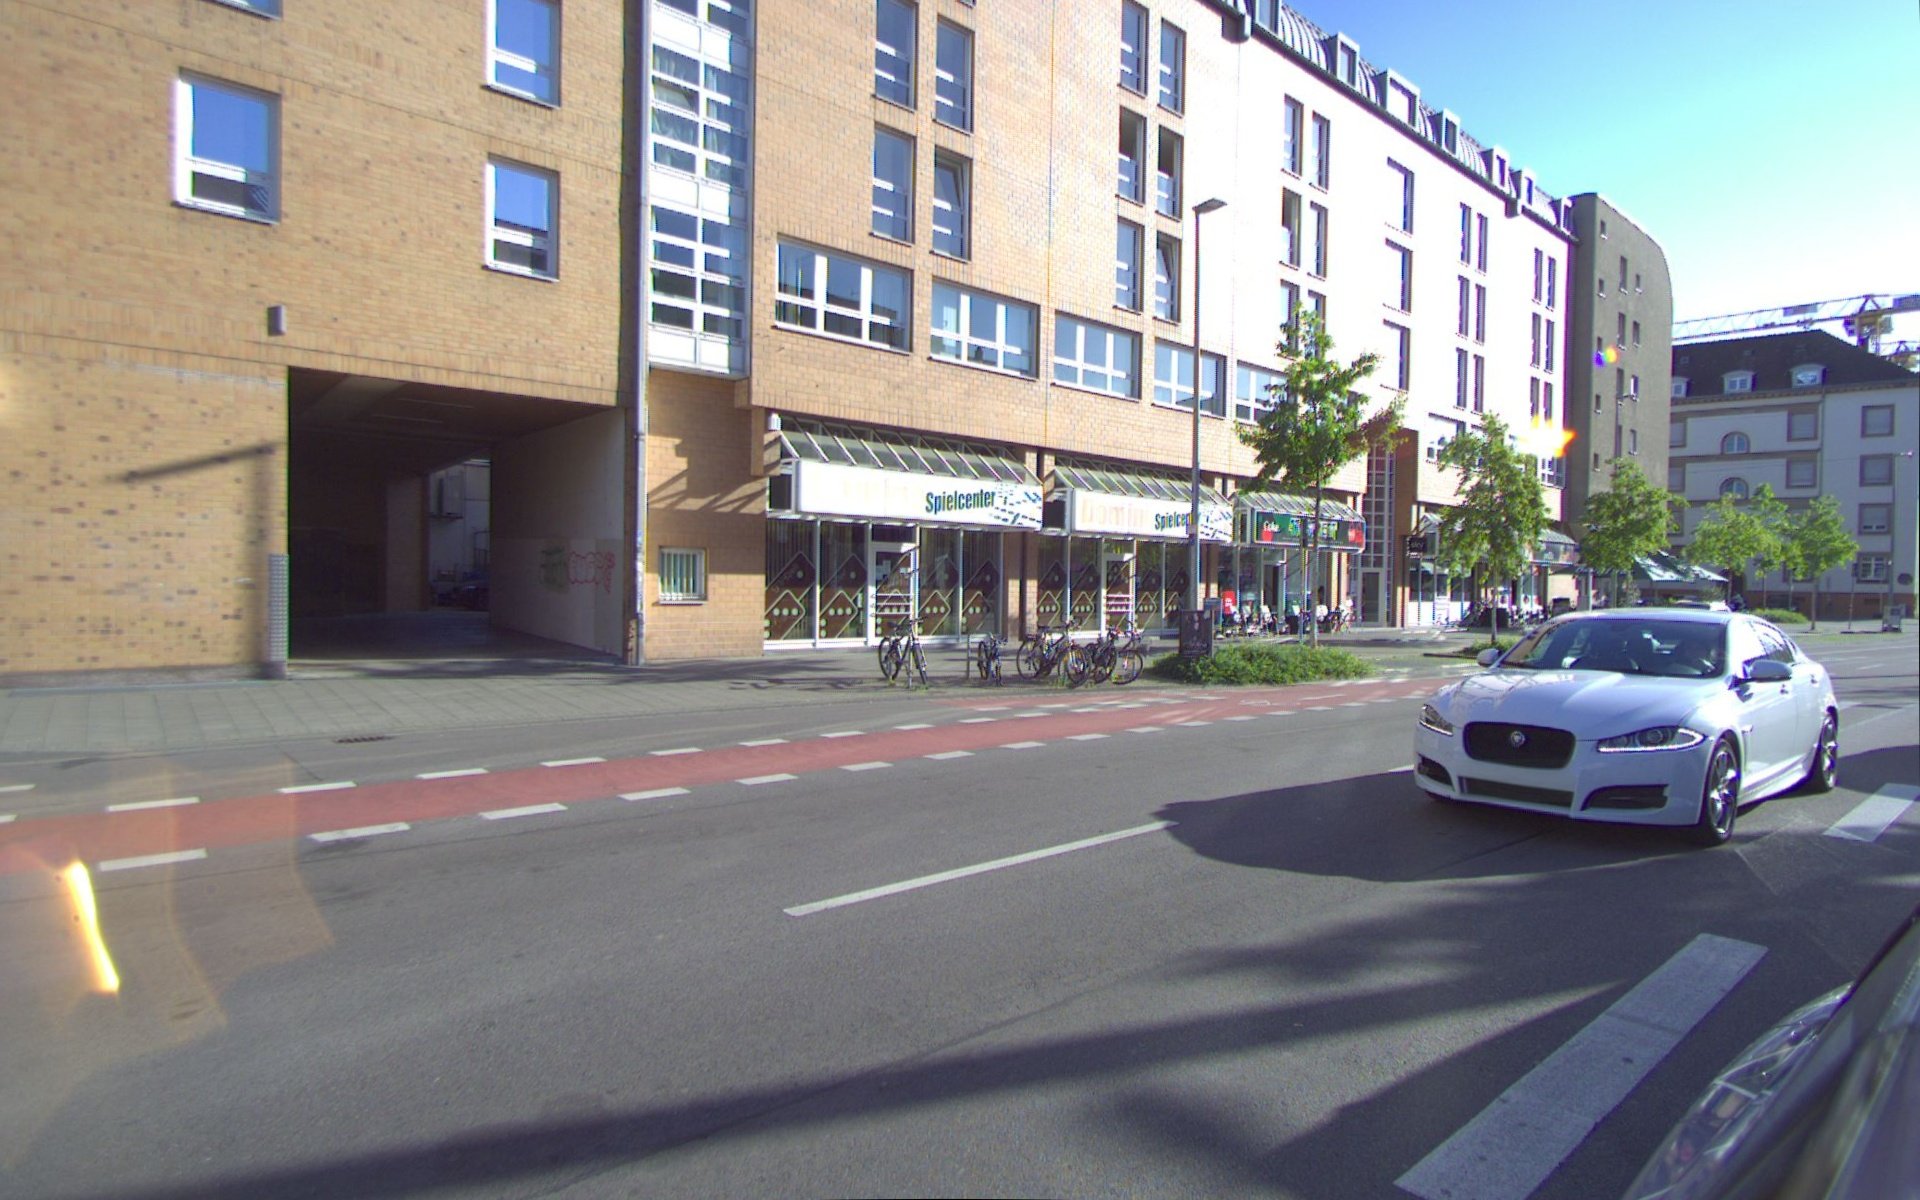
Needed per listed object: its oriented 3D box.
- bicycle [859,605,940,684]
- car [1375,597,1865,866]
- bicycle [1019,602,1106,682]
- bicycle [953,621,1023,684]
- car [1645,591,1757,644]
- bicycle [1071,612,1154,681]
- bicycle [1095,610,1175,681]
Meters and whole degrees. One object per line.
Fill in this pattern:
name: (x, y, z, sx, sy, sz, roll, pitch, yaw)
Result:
bicycle: (-0.997, 0.685, 16.270, 0.423, 1.089, 1.776, -1, 4, -35)
car: (5.151, 0.720, 7.666, 4.372, 1.448, 1.808, 0, 1, -38)
bicycle: (1.704, 0.676, 17.177, 0.553, 1.177, 1.843, 0, 3, -26)
bicycle: (0.440, 0.849, 16.864, 0.359, 0.842, 1.779, 0, 3, -26)
car: (25.861, 0.574, 35.285, 3.921, 1.659, 1.782, 0, 3, -33)
bicycle: (2.639, 0.779, 17.663, 0.440, 0.997, 1.843, 0, 3, -26)
bicycle: (3.058, 0.769, 17.862, 0.343, 1.069, 1.843, 0, 3, -26)
